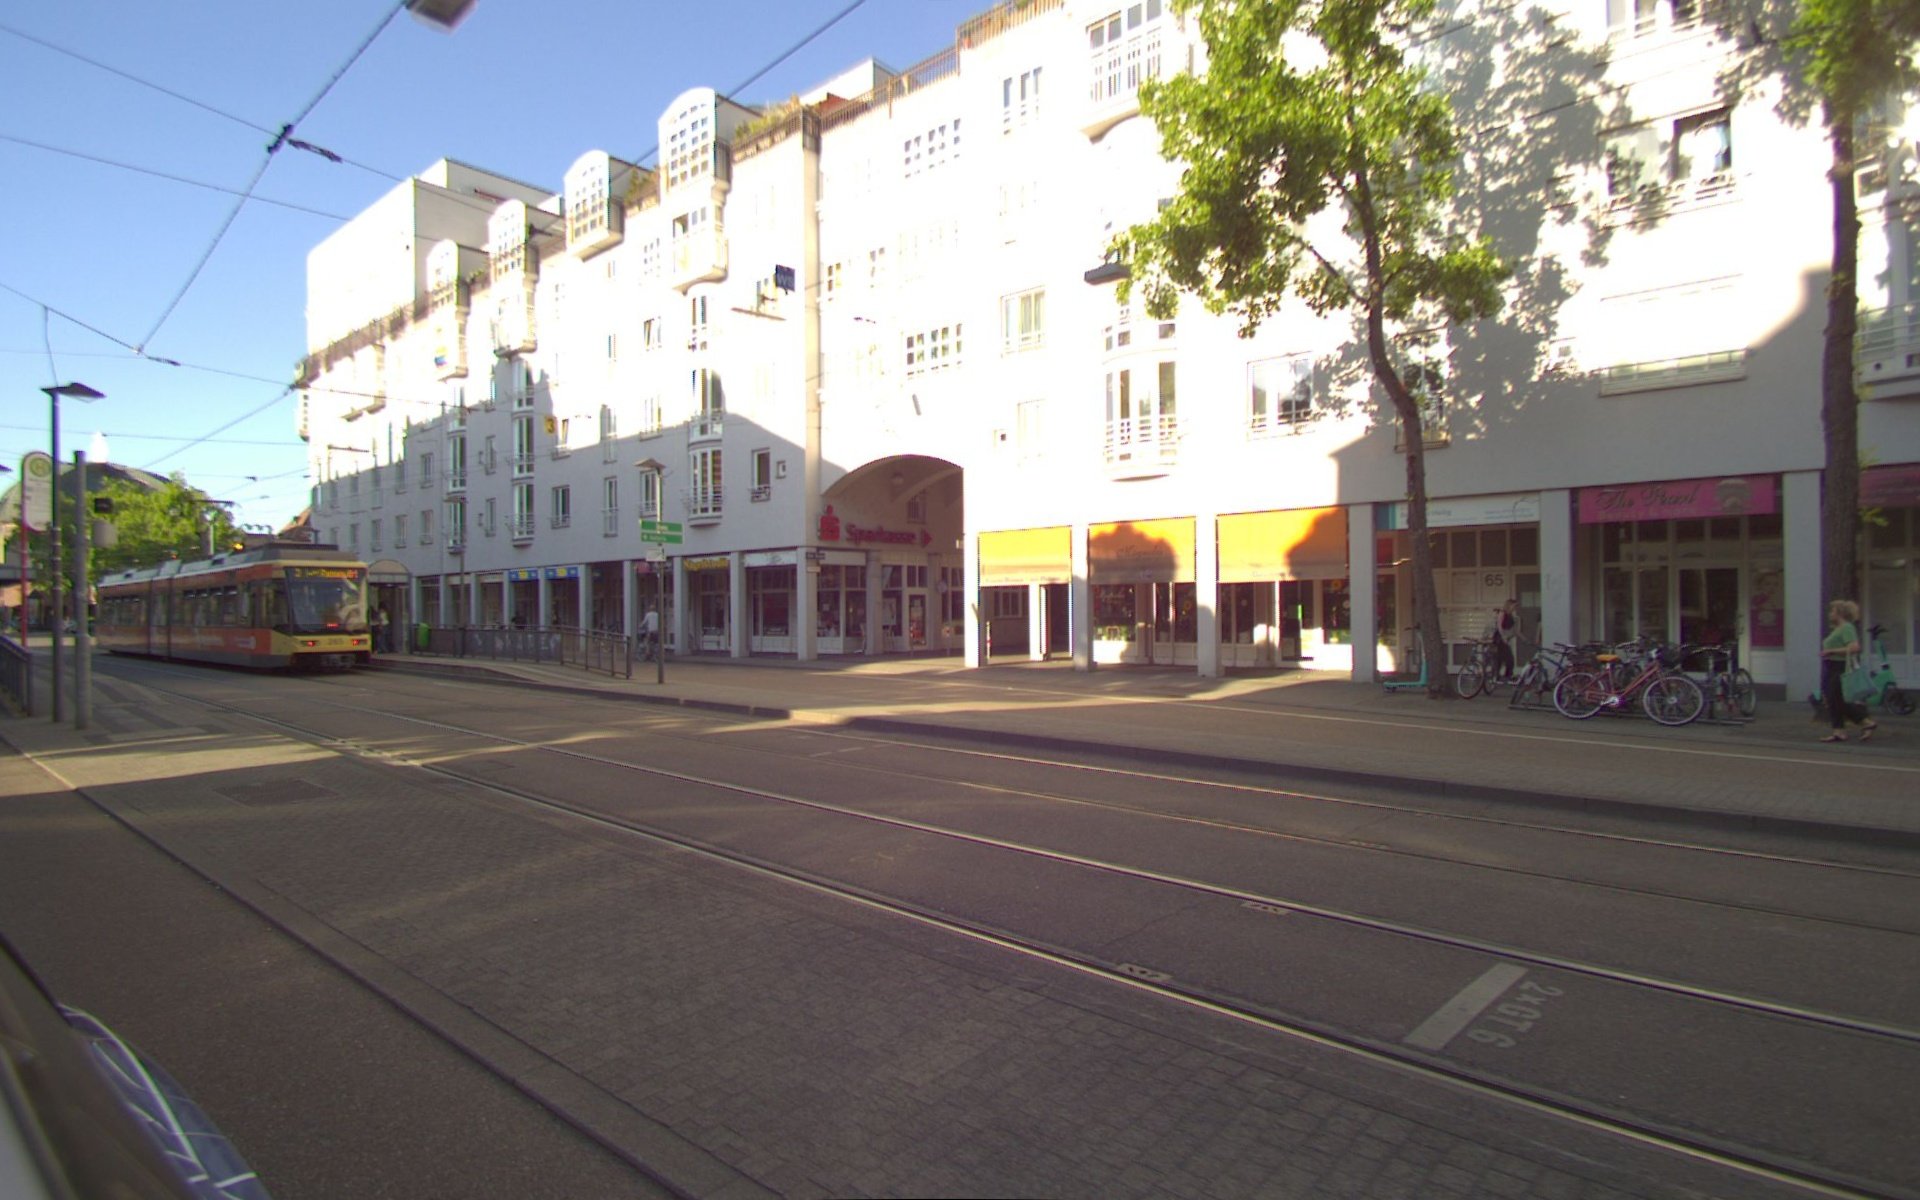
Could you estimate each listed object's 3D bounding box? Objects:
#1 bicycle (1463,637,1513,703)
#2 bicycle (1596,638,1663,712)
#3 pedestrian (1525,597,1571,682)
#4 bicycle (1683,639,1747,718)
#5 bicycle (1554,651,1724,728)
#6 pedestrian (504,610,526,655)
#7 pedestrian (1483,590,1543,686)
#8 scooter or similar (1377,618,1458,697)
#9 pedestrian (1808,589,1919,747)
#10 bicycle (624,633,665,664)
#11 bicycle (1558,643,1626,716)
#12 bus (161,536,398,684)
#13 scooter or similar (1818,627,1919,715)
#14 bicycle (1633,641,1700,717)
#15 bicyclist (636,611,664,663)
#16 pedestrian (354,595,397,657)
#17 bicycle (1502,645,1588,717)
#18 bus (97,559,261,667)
[{"bbox_3d":[8.594,1.117,16.446,0.418,0.919,1.755,-1,1,37],"label":"bicycle"},{"bbox_3d":[9.720,1.056,14.673,1.823,0.919,0.390,-2,1,-43],"label":"bicycle"},{"bbox_3d":[11.202,0.742,19.292,0.632,1.588,0.553,-1,-1,43],"label":"pedestrian"},{"bbox_3d":[10.427,1.050,13.957,1.823,0.919,0.390,-2,1,-43],"label":"bicycle"},{"bbox_3d":[9.099,1.174,13.629,1.851,0.919,0.384,-1,1,43],"label":"bicycle"},{"bbox_3d":[-17.137,1.242,38.967,0.706,1.729,0.526,-1,-1,43],"label":"pedestrian"},{"bbox_3d":[10.249,0.686,18.756,0.825,1.729,0.623,-1,-1,43],"label":"pedestrian"},{"bbox_3d":[7.872,0.966,17.440,0.372,1.288,1.182,-4,1,-37],"label":"scooter or similar"},{"bbox_3d":[10.406,0.753,11.596,0.621,1.729,0.828,0,-1,-21],"label":"pedestrian"},{"bbox_3d":[-10.665,1.633,34.214,1.726,0.996,0.511,-1,1,42],"label":"bicycle"},{"bbox_3d":[9.360,1.143,14.957,1.823,0.919,0.390,-2,1,-43],"label":"bicycle"},{"bbox_3d":[-20.744,0.353,30.210,13.677,3.594,2.781,-1,-1,43],"label":"bus"},{"bbox_3d":[12.382,0.930,13.653,0.330,1.120,1.184,0,-1,-25],"label":"scooter or similar"},{"bbox_3d":[10.050,1.095,14.375,1.823,0.919,0.390,-2,0,-43],"label":"bicycle"},{"bbox_3d":[-10.392,1.235,33.937,0.807,1.713,0.508,-1,0,42],"label":"bicyclist"},{"bbox_3d":[-17.912,0.796,30.989,0.977,1.846,0.906,-1,-1,43],"label":"pedestrian"},{"bbox_3d":[8.793,1.195,15.175,1.821,0.919,0.390,-2,1,-36],"label":"bicycle"},{"bbox_3d":[-30.630,0.543,39.312,13.677,3.594,2.781,-1,-1,43],"label":"bus"}]
